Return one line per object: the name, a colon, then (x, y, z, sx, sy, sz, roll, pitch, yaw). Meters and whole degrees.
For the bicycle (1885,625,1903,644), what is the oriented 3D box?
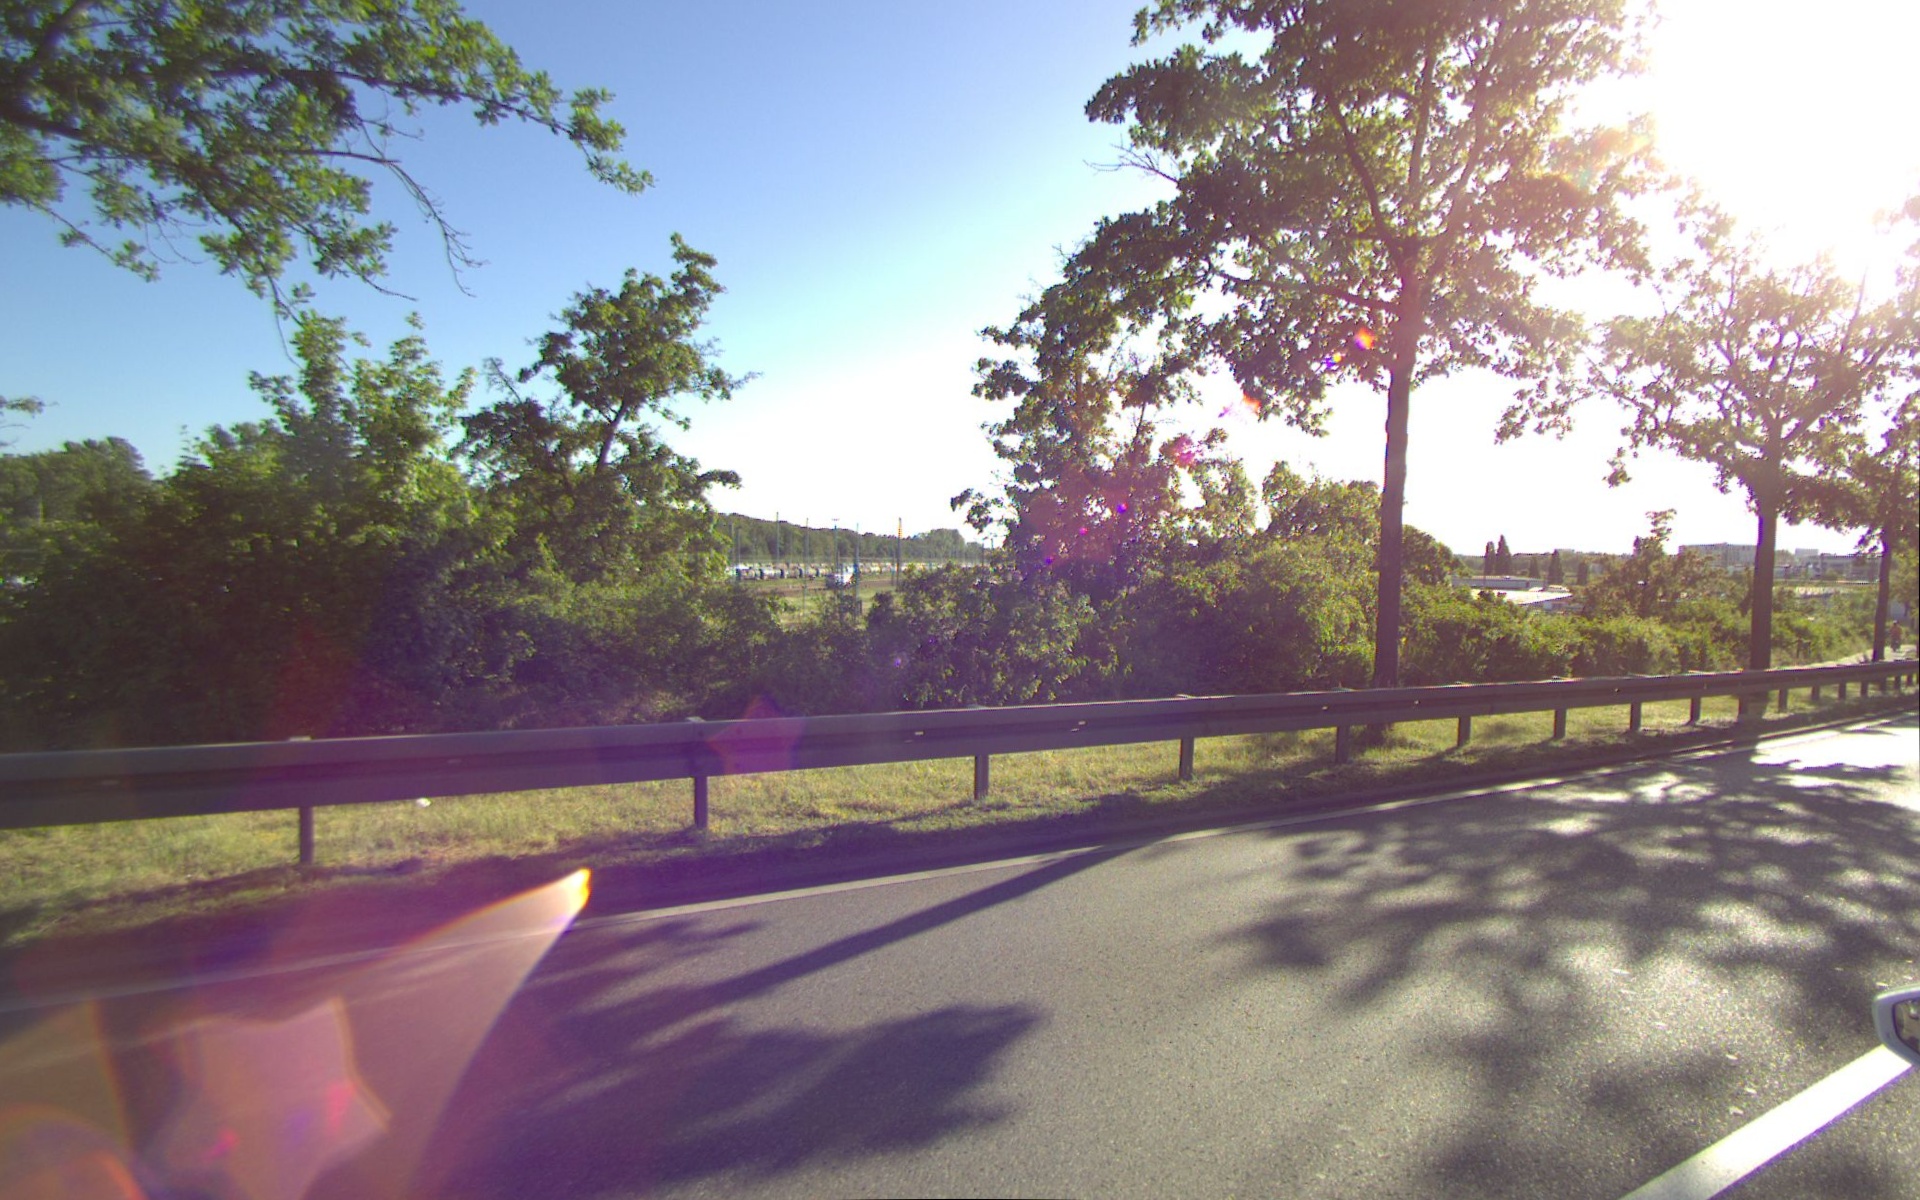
bicycle: (55.994, 2.070, 60.222, 2.094, 1.110, 0.654, 1, 1, -45)

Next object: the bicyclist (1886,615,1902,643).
bicyclist: (56.007, 1.755, 60.239, 0.868, 1.645, 0.645, 1, 1, -45)
